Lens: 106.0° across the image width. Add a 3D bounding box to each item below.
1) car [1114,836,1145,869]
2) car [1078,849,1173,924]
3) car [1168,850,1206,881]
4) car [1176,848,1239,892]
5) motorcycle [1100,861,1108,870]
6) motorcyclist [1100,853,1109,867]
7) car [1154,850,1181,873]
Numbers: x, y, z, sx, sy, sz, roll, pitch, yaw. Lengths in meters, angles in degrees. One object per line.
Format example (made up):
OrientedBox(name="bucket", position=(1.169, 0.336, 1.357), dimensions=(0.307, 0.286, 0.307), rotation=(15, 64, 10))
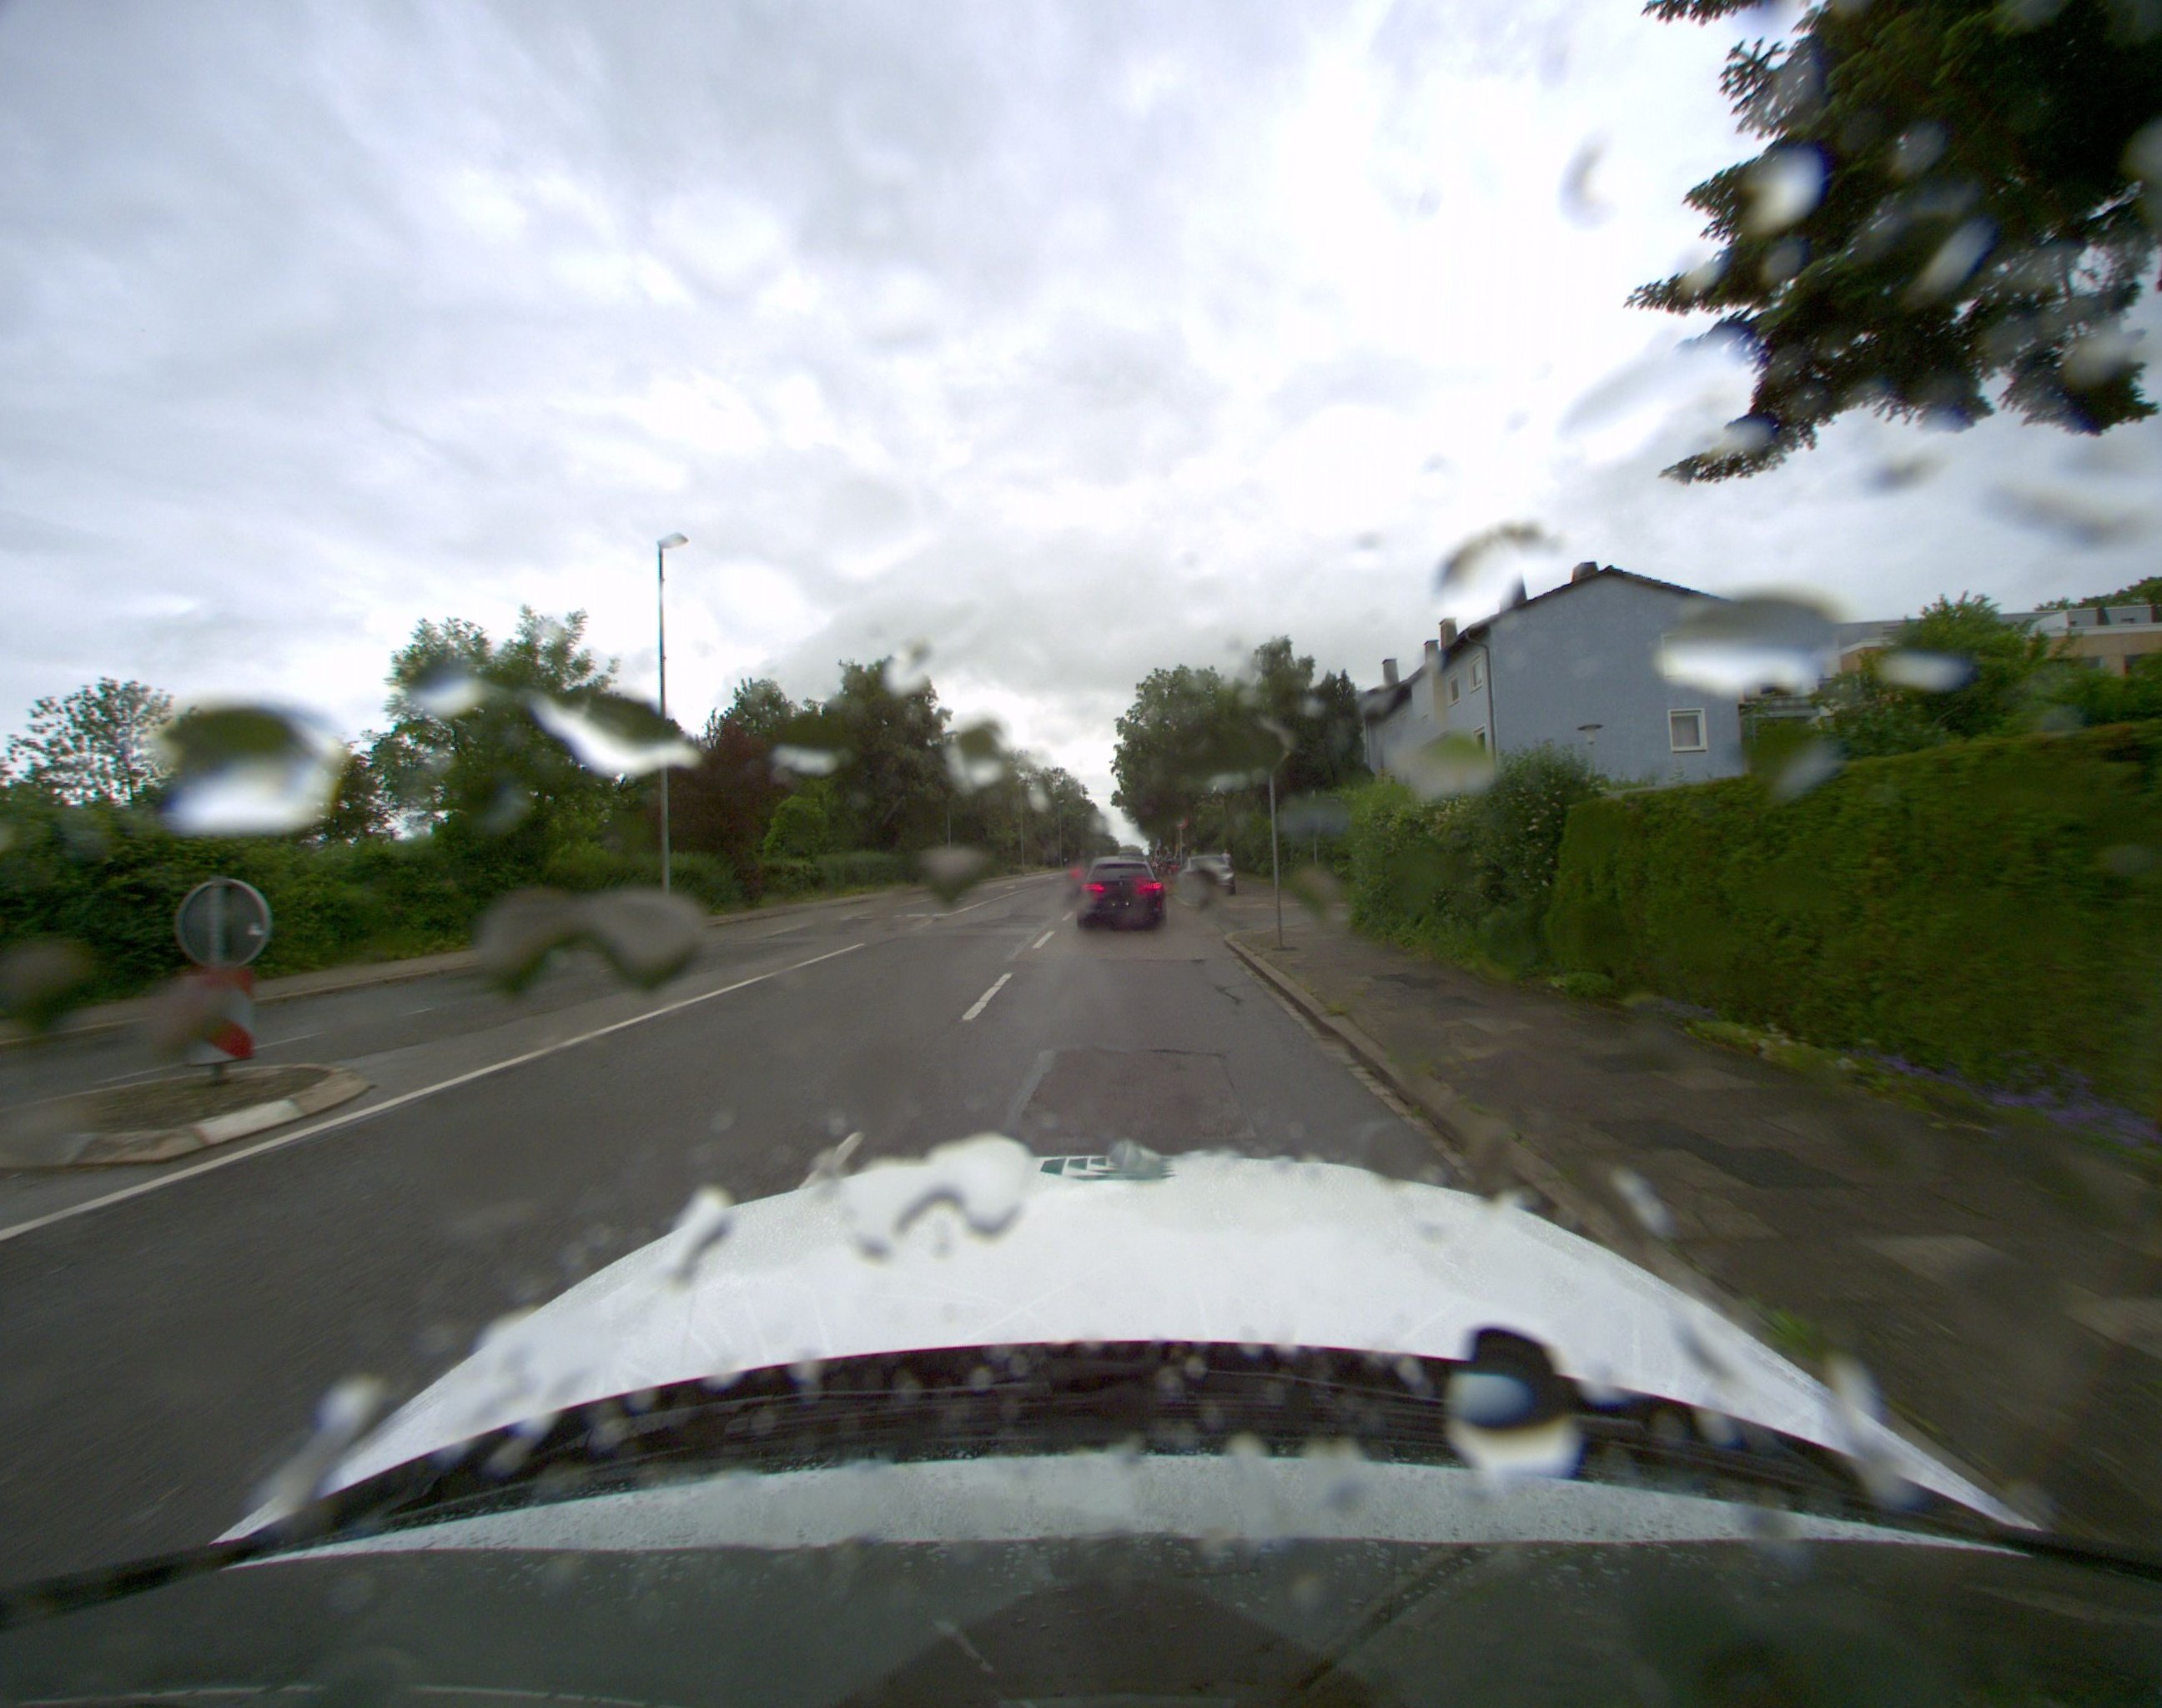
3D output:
OrientedBox(name="car", position=(2.827, -0.109, 47.698), dimensions=(1.623, 1.833, 4.002), rotation=(-2, 1, 2))
OrientedBox(name="car", position=(0.993, 0.636, 18.232), dimensions=(1.889, 1.489, 4.003), rotation=(0, 0, 3))
OrientedBox(name="car", position=(5.439, 0.559, 42.160), dimensions=(1.583, 1.460, 3.565), rotation=(-2, 0, 3))
OrientedBox(name="car", position=(4.553, 0.544, 29.876), dimensions=(1.927, 1.442, 4.413), rotation=(-2, 0, 4))
OrientedBox(name="motorcycle", position=(2.732, 1.341, 95.305), dimensions=(0.872, 1.124, 2.742), rotation=(0, 0, 2))
OrientedBox(name="motorcyclist", position=(2.738, 0.694, 95.371), dimensions=(1.035, 1.567, 0.855), rotation=(0, 0, 1))
OrientedBox(name="car", position=(5.911, 0.493, 55.779), dimensions=(1.583, 1.486, 3.565), rotation=(-2, 0, 3))
